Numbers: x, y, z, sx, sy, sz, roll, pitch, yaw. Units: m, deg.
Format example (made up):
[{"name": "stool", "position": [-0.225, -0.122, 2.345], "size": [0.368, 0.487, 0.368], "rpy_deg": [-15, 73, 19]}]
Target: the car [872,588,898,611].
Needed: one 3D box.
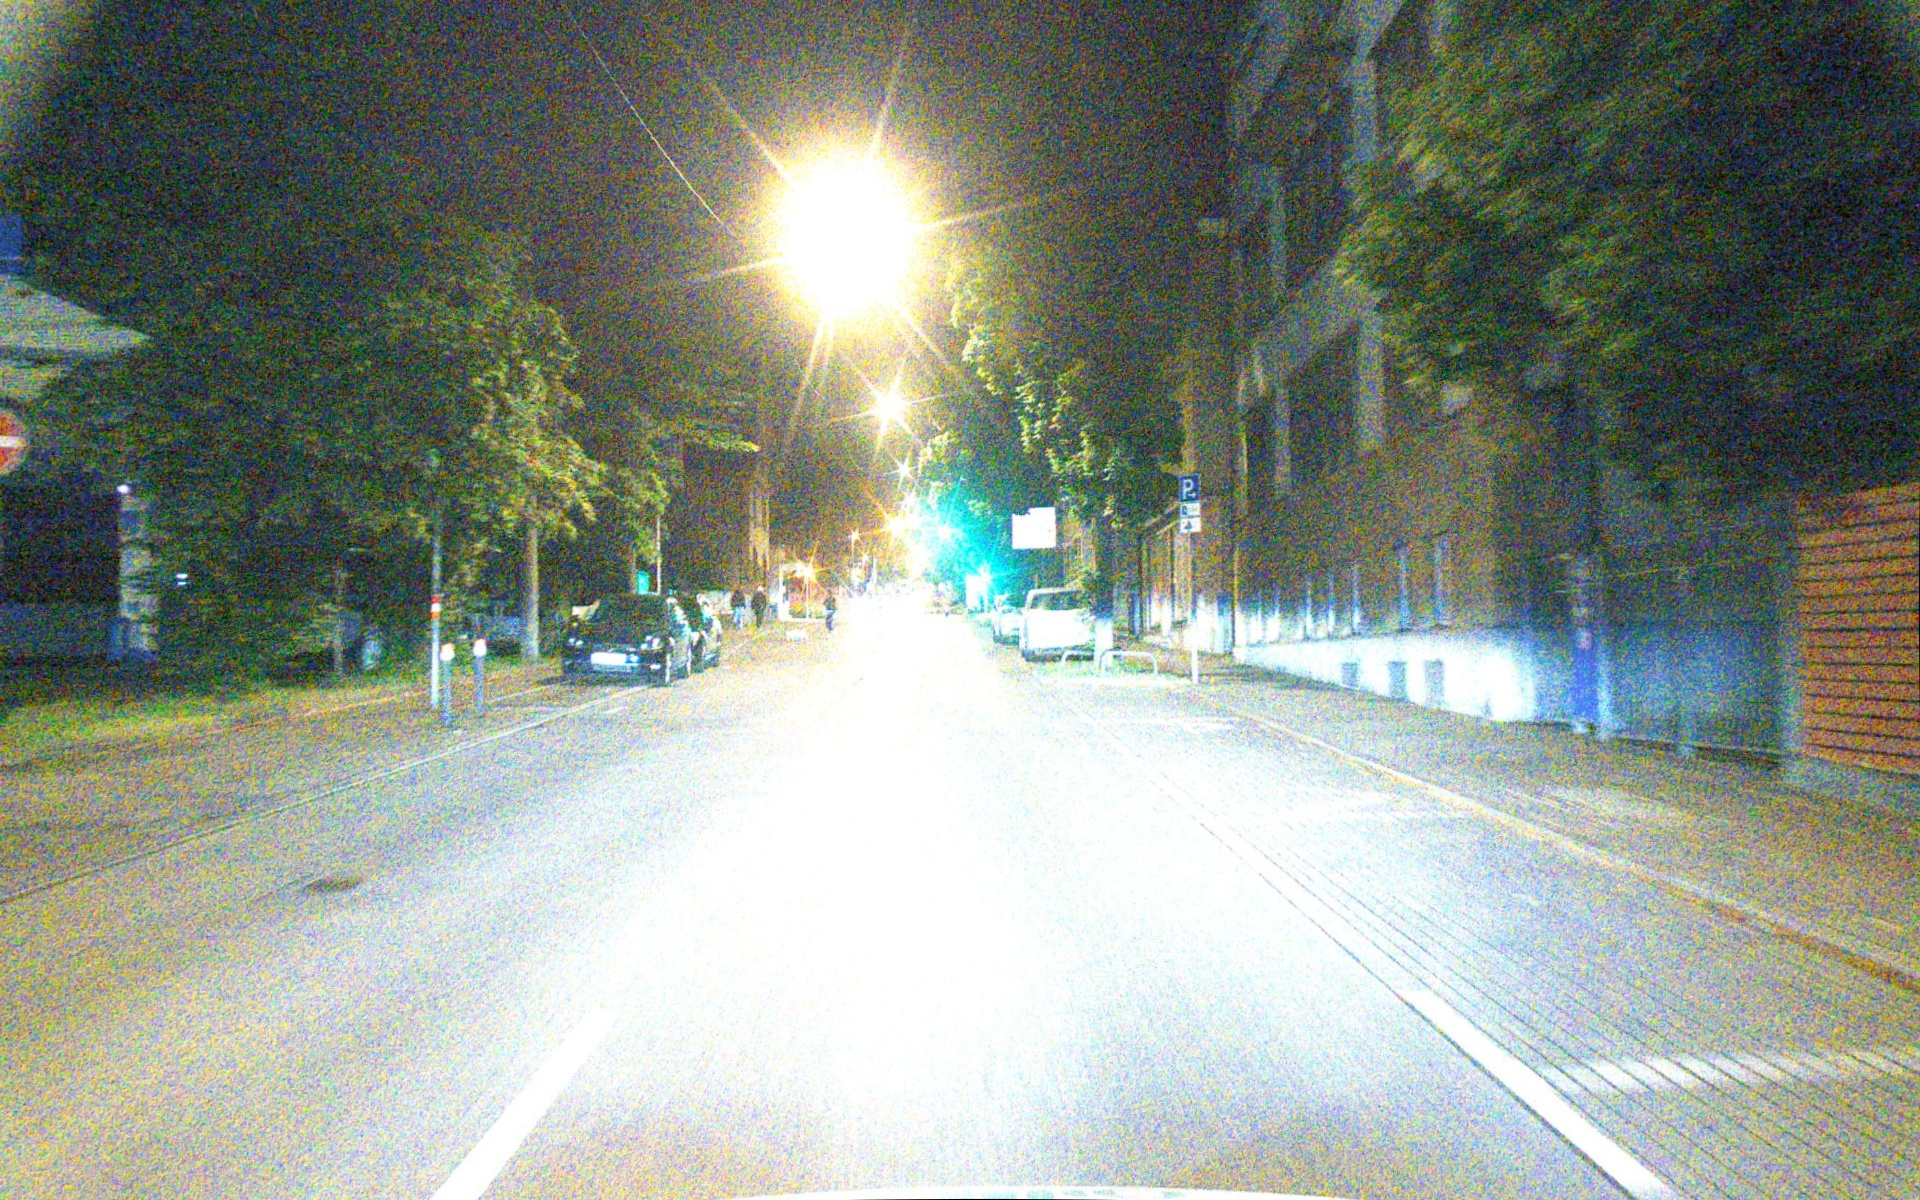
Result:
[{"name": "car", "position": [-5.866, -0.017, 129.998], "size": [1.905, 1.747, 3.999], "rpy_deg": [1, -1, -1]}]

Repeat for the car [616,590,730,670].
[{"name": "car", "position": [-5.789, 0.554, 33.846], "size": [1.686, 1.462, 4.808], "rpy_deg": [1, 1, -3]}]

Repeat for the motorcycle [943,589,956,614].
[{"name": "motorcycle", "position": [-0.807, 0.135, 121.087], "size": [0.912, 1.783, 2.624], "rpy_deg": [1, -1, -1]}]

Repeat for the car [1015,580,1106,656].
[{"name": "car", "position": [2.310, 0.382, 38.900], "size": [1.775, 1.622, 4.273], "rpy_deg": [-2, 0, -1]}]

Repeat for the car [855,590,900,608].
[{"name": "car", "position": [-7.341, -0.056, 147.365], "size": [1.690, 1.483, 3.898], "rpy_deg": [0, -1, 42]}]

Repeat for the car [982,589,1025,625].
[{"name": "car", "position": [1.873, 0.291, 71.730], "size": [1.596, 1.522, 3.413], "rpy_deg": [1, 0, -3]}]

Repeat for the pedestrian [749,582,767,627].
[{"name": "pedestrian", "position": [-8.136, 0.201, 66.607], "size": [0.705, 1.796, 0.602], "rpy_deg": [1, -1, -9]}]

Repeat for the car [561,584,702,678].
[{"name": "car", "position": [-5.575, 0.490, 28.527], "size": [1.686, 1.463, 4.189], "rpy_deg": [1, 0, -2]}]

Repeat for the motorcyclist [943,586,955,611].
[{"name": "motorcyclist", "position": [-0.807, -0.086, 121.093], "size": [0.831, 1.783, 0.805], "rpy_deg": [1, -1, -1]}]

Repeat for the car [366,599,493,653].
[{"name": "car", "position": [-15.155, 0.730, 47.238], "size": [3.197, 1.478, 1.790], "rpy_deg": [0, -1, 32]}]

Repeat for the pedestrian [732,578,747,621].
[{"name": "pedestrian", "position": [-8.842, -0.011, 66.357], "size": [0.559, 1.729, 0.927], "rpy_deg": [1, -1, -10]}]

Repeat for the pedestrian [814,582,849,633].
[{"name": "pedestrian", "position": [-4.497, 0.260, 57.998], "size": [0.751, 1.729, 0.923], "rpy_deg": [3, 0, 36]}]

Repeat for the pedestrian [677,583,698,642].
[{"name": "pedestrian", "position": [-8.018, 0.362, 48.617], "size": [0.570, 1.729, 0.530], "rpy_deg": [1, -1, -9]}]

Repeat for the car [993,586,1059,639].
[{"name": "car", "position": [2.043, 0.354, 52.155], "size": [1.831, 1.553, 4.149], "rpy_deg": [-2, 0, -1]}]
